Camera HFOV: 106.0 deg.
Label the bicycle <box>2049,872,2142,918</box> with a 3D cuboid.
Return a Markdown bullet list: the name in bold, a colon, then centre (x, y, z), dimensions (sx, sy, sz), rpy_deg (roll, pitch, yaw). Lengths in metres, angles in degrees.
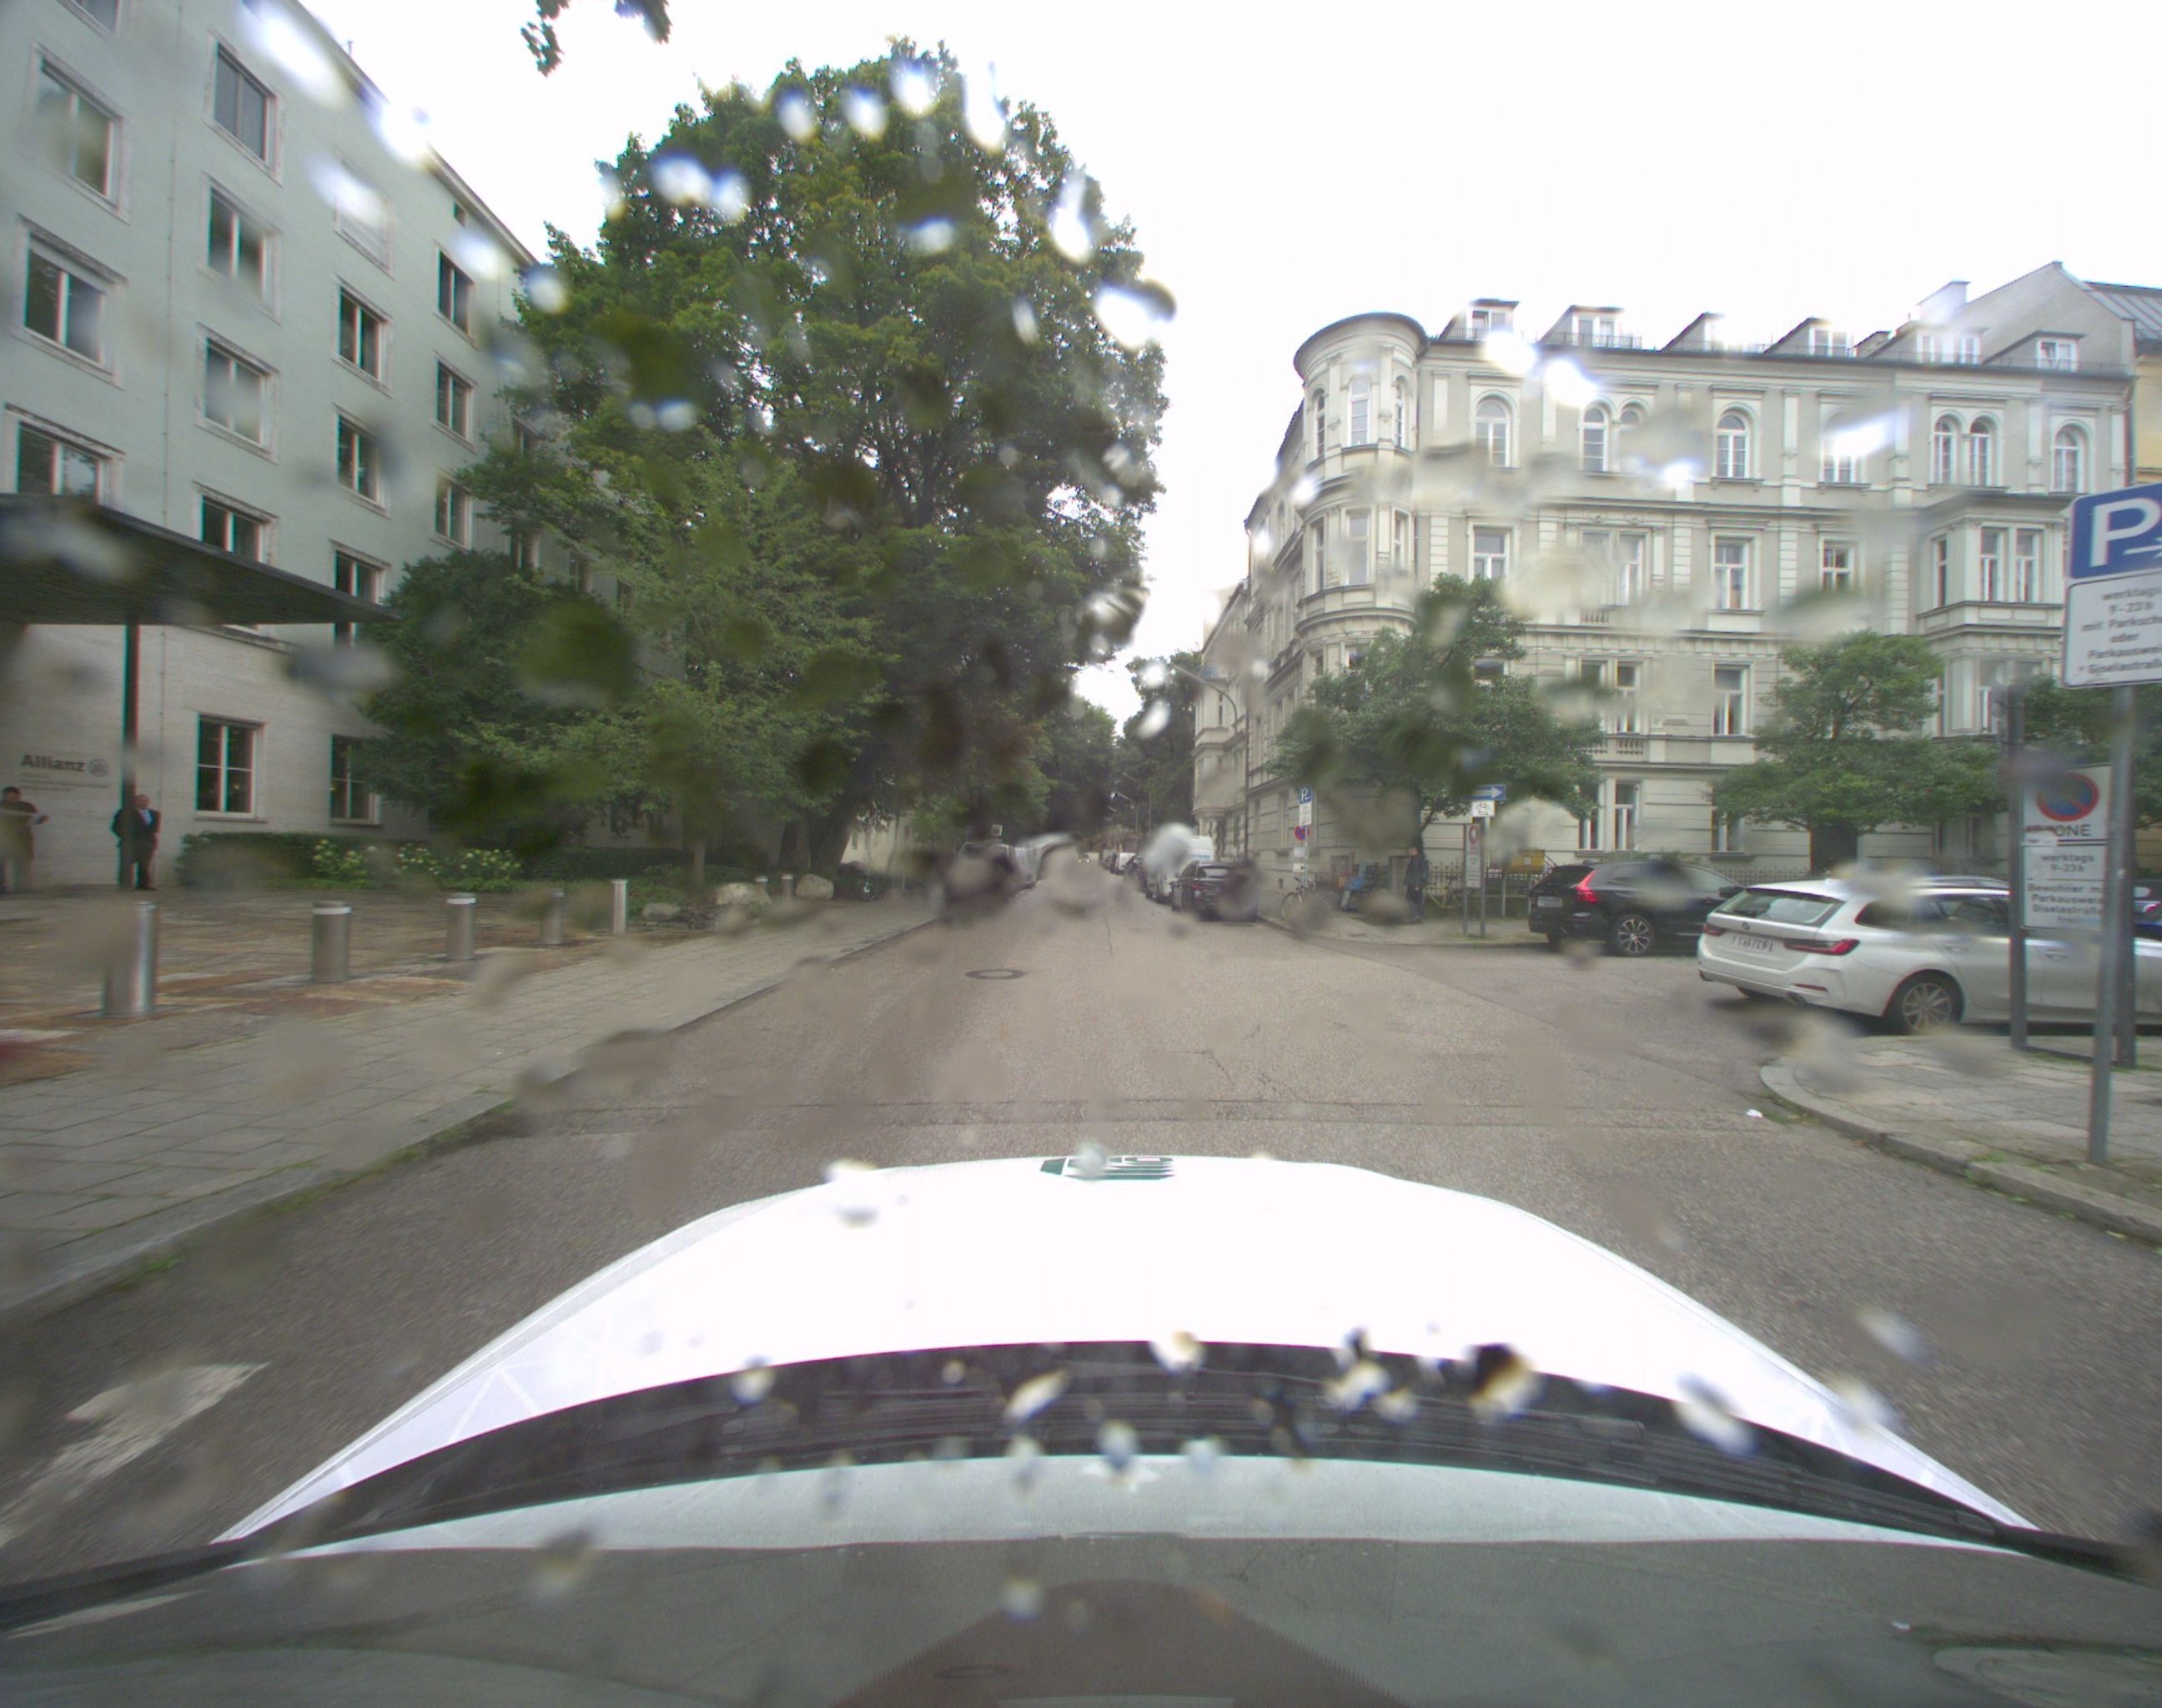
- **bicycle**: centre (25.344, 1.027, 20.351), dimensions (1.821, 1.102, 0.372), rpy_deg (1, 0, 1)

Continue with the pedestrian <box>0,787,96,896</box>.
- **pedestrian**: centre (-17.282, -0.192, 13.498), dimensions (0.749, 1.753, 0.899), rpy_deg (1, -1, -5)

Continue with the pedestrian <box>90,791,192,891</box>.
- **pedestrian**: centre (-17.114, -0.221, 14.857), dimensions (0.749, 1.753, 0.899), rpy_deg (1, -1, -5)

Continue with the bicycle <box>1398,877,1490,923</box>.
- **bicycle**: centre (8.569, 1.070, 19.275), dimensions (1.915, 1.028, 0.557), rpy_deg (1, 1, 2)

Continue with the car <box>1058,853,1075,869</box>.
- **car**: centre (-2.015, 0.986, 113.178), dimensions (2.043, 2.154, 4.309), rpy_deg (2, 0, -3)

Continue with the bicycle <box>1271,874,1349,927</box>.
- **bicycle**: centre (5.099, 1.004, 18.291), dimensions (0.655, 1.028, 2.190), rpy_deg (0, 1, -16)

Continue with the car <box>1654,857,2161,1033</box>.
- **car**: centre (9.105, 0.860, 8.568), dimensions (4.895, 1.531, 1.911), rpy_deg (0, 2, -4)

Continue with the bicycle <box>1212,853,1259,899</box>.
- **bicycle**: centre (5.328, 0.741, 28.219), dimensions (0.709, 1.515, 2.027), rpy_deg (1, 0, -17)

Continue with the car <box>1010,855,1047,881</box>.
- **car**: centre (-3.254, 0.864, 51.545), dimensions (2.063, 1.519, 4.236), rpy_deg (2, 0, -1)

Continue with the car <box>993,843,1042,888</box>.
- **car**: centre (-3.045, 0.538, 40.143), dimensions (2.179, 1.956, 5.161), rpy_deg (2, 0, -3)

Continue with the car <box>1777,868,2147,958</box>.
- **car**: centre (15.810, 1.038, 14.748), dimensions (5.153, 1.505, 1.807), rpy_deg (1, -3, -6)

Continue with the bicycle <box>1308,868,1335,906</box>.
- **bicycle**: centre (7.106, 0.955, 24.119), dimensions (0.543, 1.060, 1.755), rpy_deg (1, 0, 9)

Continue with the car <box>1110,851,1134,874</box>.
- **car**: centre (3.568, 0.733, 71.726), dimensions (1.986, 1.975, 4.002), rpy_deg (0, 0, 2)

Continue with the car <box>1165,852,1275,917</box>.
- **car**: centre (3.545, 0.739, 21.718), dimensions (2.264, 1.546, 4.588), rpy_deg (0, 0, 2)

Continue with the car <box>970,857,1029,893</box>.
- **car**: centre (-3.364, 0.837, 34.334), dimensions (2.207, 1.329, 3.944), rpy_deg (2, 0, -3)

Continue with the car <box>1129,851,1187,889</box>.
- **car**: centre (3.491, 0.722, 37.522), dimensions (2.132, 1.630, 4.312), rpy_deg (0, 0, -2)

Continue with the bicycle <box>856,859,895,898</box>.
- **bicycle**: centre (-6.198, 0.719, 24.645), dimensions (0.630, 1.102, 1.768), rpy_deg (2, -1, 2)

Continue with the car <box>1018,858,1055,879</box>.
- **car**: centre (-3.035, 0.986, 56.471), dimensions (2.109, 1.329, 4.141), rpy_deg (2, 0, 3)

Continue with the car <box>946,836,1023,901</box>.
- **car**: centre (-3.221, 0.462, 28.421), dimensions (2.243, 1.956, 5.447), rpy_deg (2, 0, -3)

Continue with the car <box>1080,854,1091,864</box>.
- **car**: centre (0.887, 0.904, 151.301), dimensions (1.986, 1.783, 4.002), rpy_deg (0, 0, 2)

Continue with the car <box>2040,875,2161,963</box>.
- **car**: centre (20.438, 1.172, 15.017), dimensions (3.708, 1.517, 1.706), rpy_deg (0, -2, -5)

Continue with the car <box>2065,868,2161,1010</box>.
- **car**: centre (14.173, 0.999, 8.877), dimensions (4.849, 1.506, 1.933), rpy_deg (1, 1, -4)

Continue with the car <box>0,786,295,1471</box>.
- **car**: centre (-3.346, 0.601, 0.245), dimensions (1.883, 1.590, 4.523), rpy_deg (2, 0, -3)

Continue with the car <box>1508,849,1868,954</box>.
- **car**: centre (10.562, 0.855, 14.428), dimensions (5.026, 1.653, 1.941), rpy_deg (1, -4, -4)

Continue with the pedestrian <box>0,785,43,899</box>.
- **pedestrian**: centre (-17.011, -0.195, 12.591), dimensions (0.896, 1.753, 0.751), rpy_deg (1, 0, -4)

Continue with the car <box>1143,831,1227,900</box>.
- **car**: centre (3.549, 0.401, 28.684), dimensions (2.198, 2.208, 4.851), rpy_deg (0, 0, -2)

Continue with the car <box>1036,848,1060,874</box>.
- **car**: centre (-2.952, 0.629, 73.145), dimensions (1.996, 2.186, 4.693), rpy_deg (2, 0, -1)

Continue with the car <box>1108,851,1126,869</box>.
- **car**: centre (3.982, 0.671, 90.918), dimensions (1.986, 2.013, 4.002), rpy_deg (0, 0, 2)

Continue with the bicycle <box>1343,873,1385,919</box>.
- **bicycle**: centre (7.131, 1.038, 20.565), dimensions (0.428, 1.028, 1.891), rpy_deg (0, 1, 1)

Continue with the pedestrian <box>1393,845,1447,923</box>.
- **pedestrian**: centre (7.619, 0.653, 18.305), dimensions (0.963, 1.689, 0.865), rpy_deg (0, 0, 33)
